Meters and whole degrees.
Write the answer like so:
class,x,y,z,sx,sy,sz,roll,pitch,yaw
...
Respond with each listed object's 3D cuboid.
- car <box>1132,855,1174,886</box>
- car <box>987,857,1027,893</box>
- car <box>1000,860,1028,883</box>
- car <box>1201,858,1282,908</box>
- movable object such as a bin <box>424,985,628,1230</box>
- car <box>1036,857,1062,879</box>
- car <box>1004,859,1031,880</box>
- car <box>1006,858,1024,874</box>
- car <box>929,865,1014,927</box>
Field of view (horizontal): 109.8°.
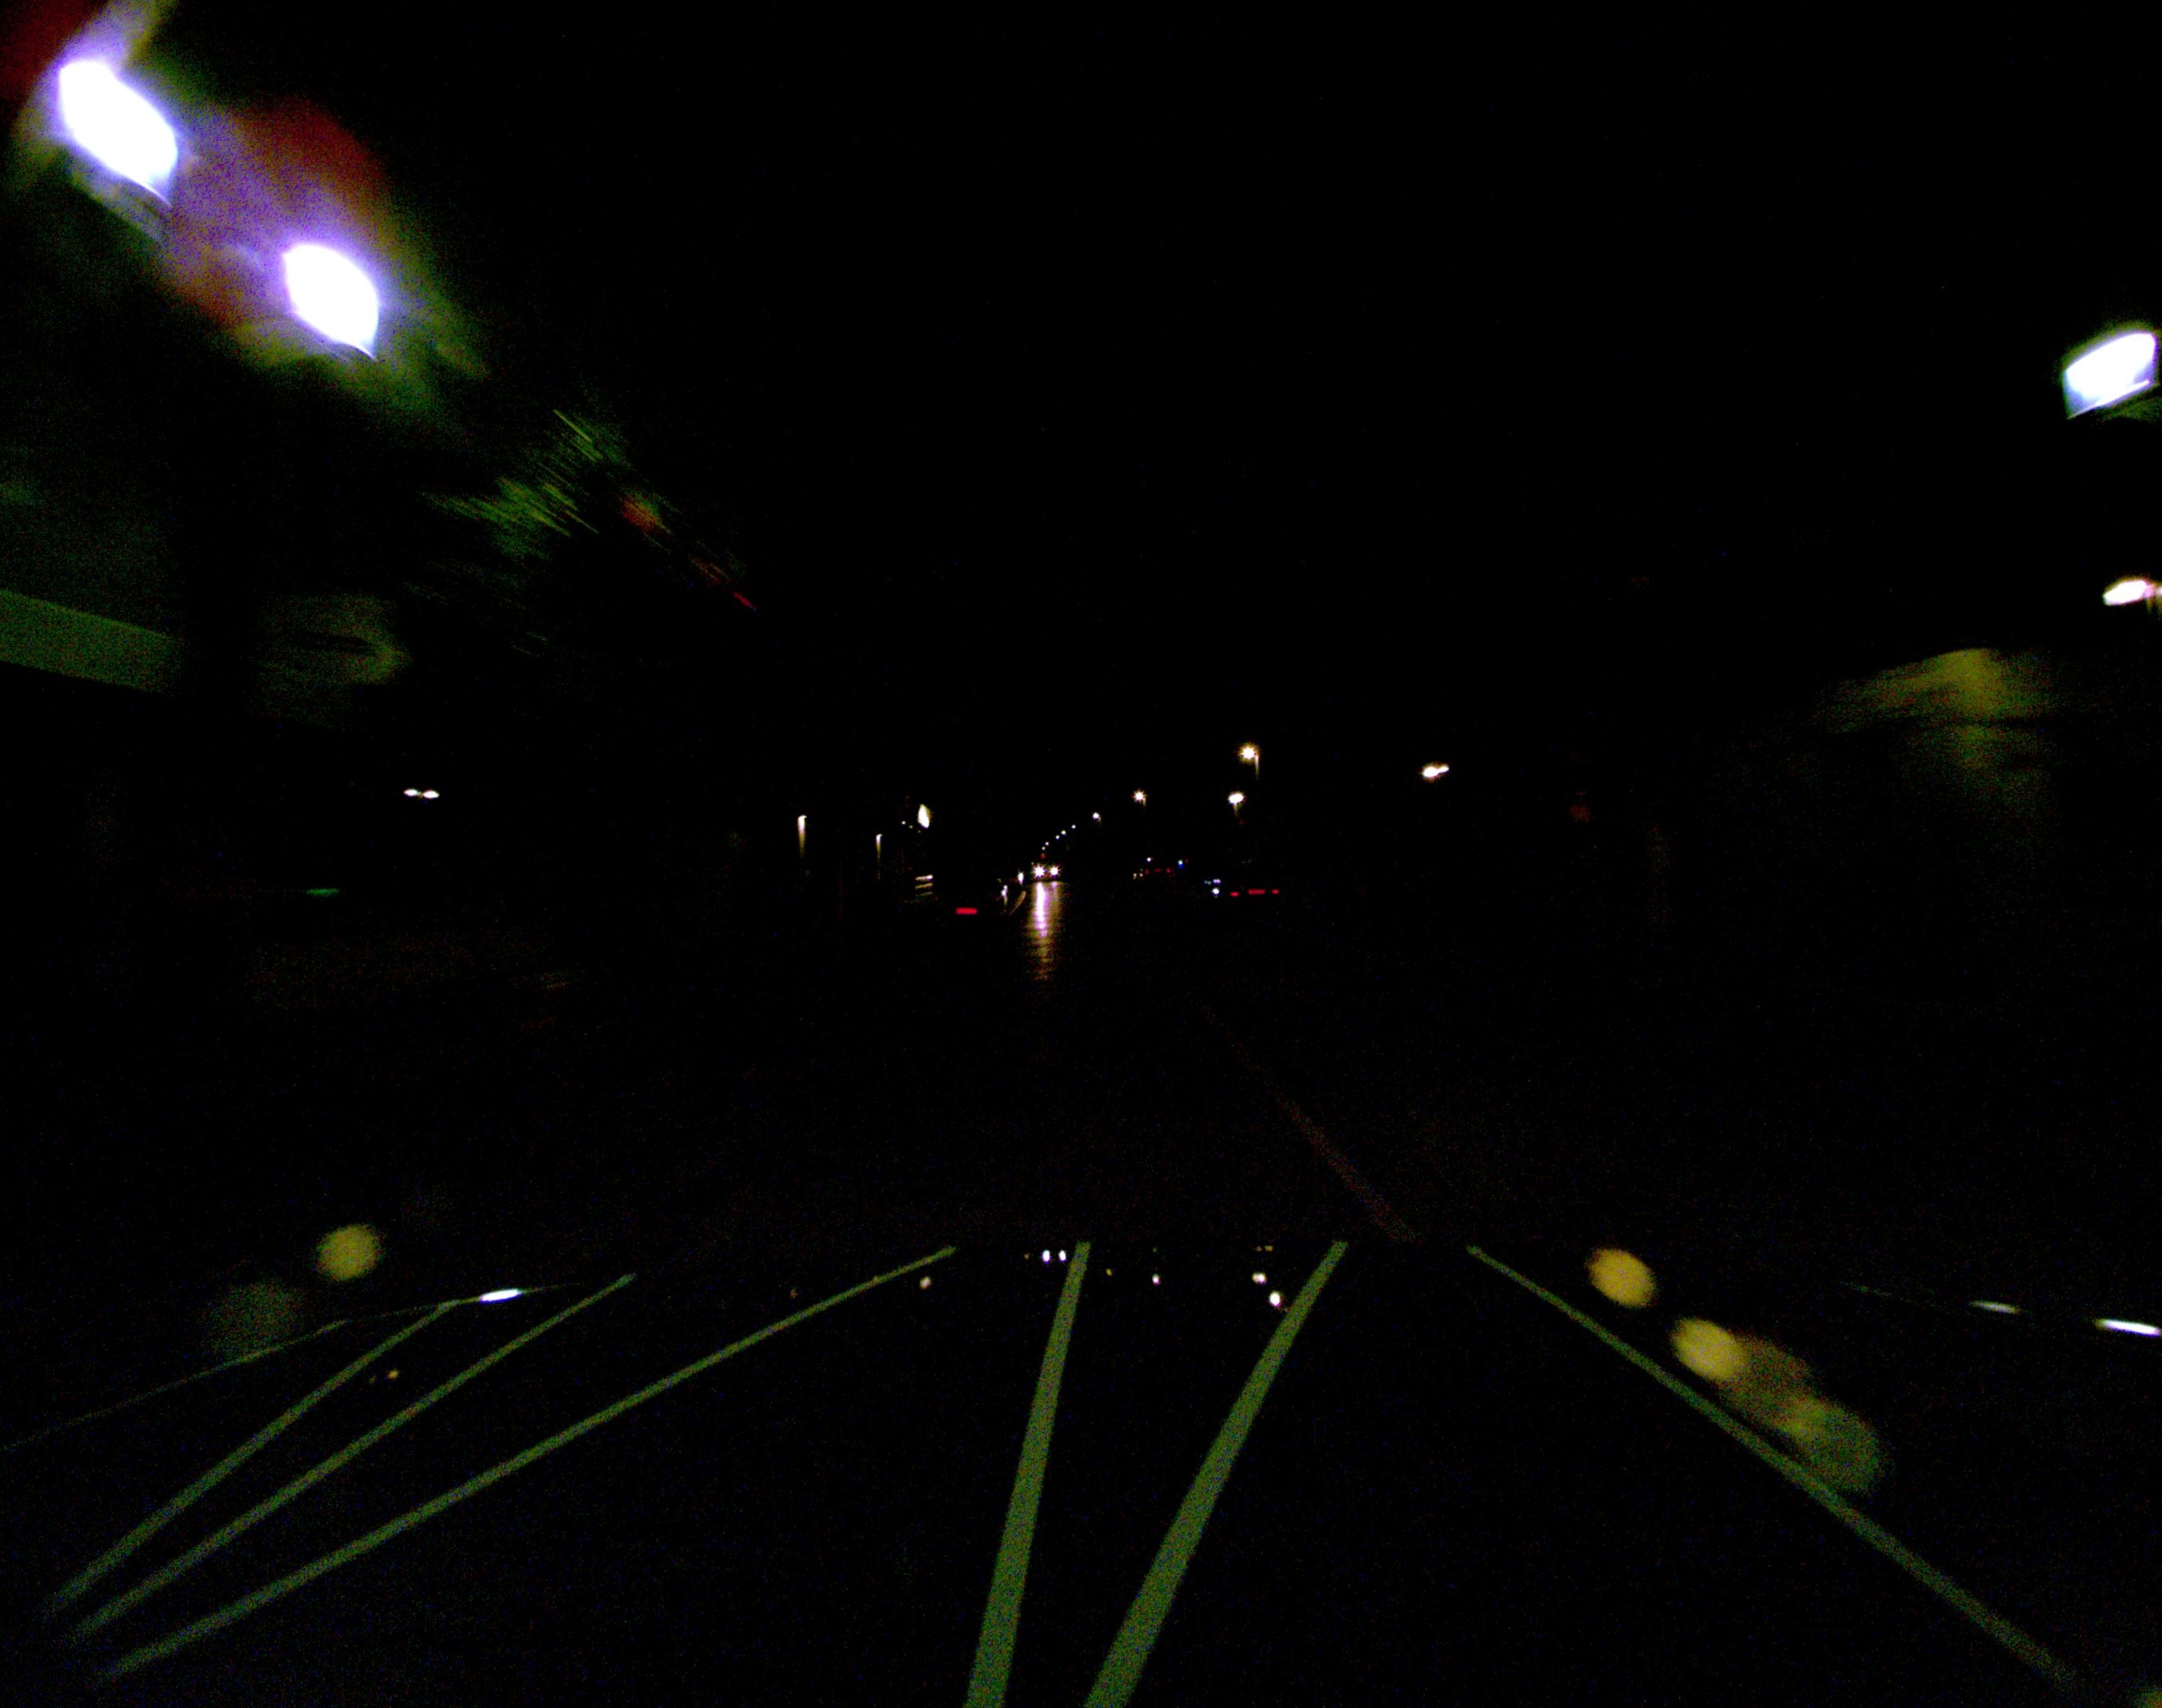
class,x,y,z,sx,sy,sz,roll,pitch,yaw
car,3.991,0.875,42.684,1.697,1.515,3.688,-2,1,-5
car,-3.546,0.977,37.026,1.792,1.632,4.378,0,0,-3
car,-4.585,1.158,52.012,1.785,1.429,4.287,-3,0,-5
car,5.254,0.908,25.335,1.696,1.428,4.127,-3,0,-1
movable object such as a bin,-2.638,1.173,3.679,0.525,0.932,0.629,-2,2,-10
car,-2.374,1.016,55.837,1.628,1.496,3.548,-2,0,-6
car,-4.777,1.132,57.555,1.681,1.439,4.610,-3,0,-2
car,-6.395,1.142,73.882,1.643,1.458,3.774,-3,0,-5
car,-2.897,1.064,20.939,1.862,1.433,4.593,0,0,-3
